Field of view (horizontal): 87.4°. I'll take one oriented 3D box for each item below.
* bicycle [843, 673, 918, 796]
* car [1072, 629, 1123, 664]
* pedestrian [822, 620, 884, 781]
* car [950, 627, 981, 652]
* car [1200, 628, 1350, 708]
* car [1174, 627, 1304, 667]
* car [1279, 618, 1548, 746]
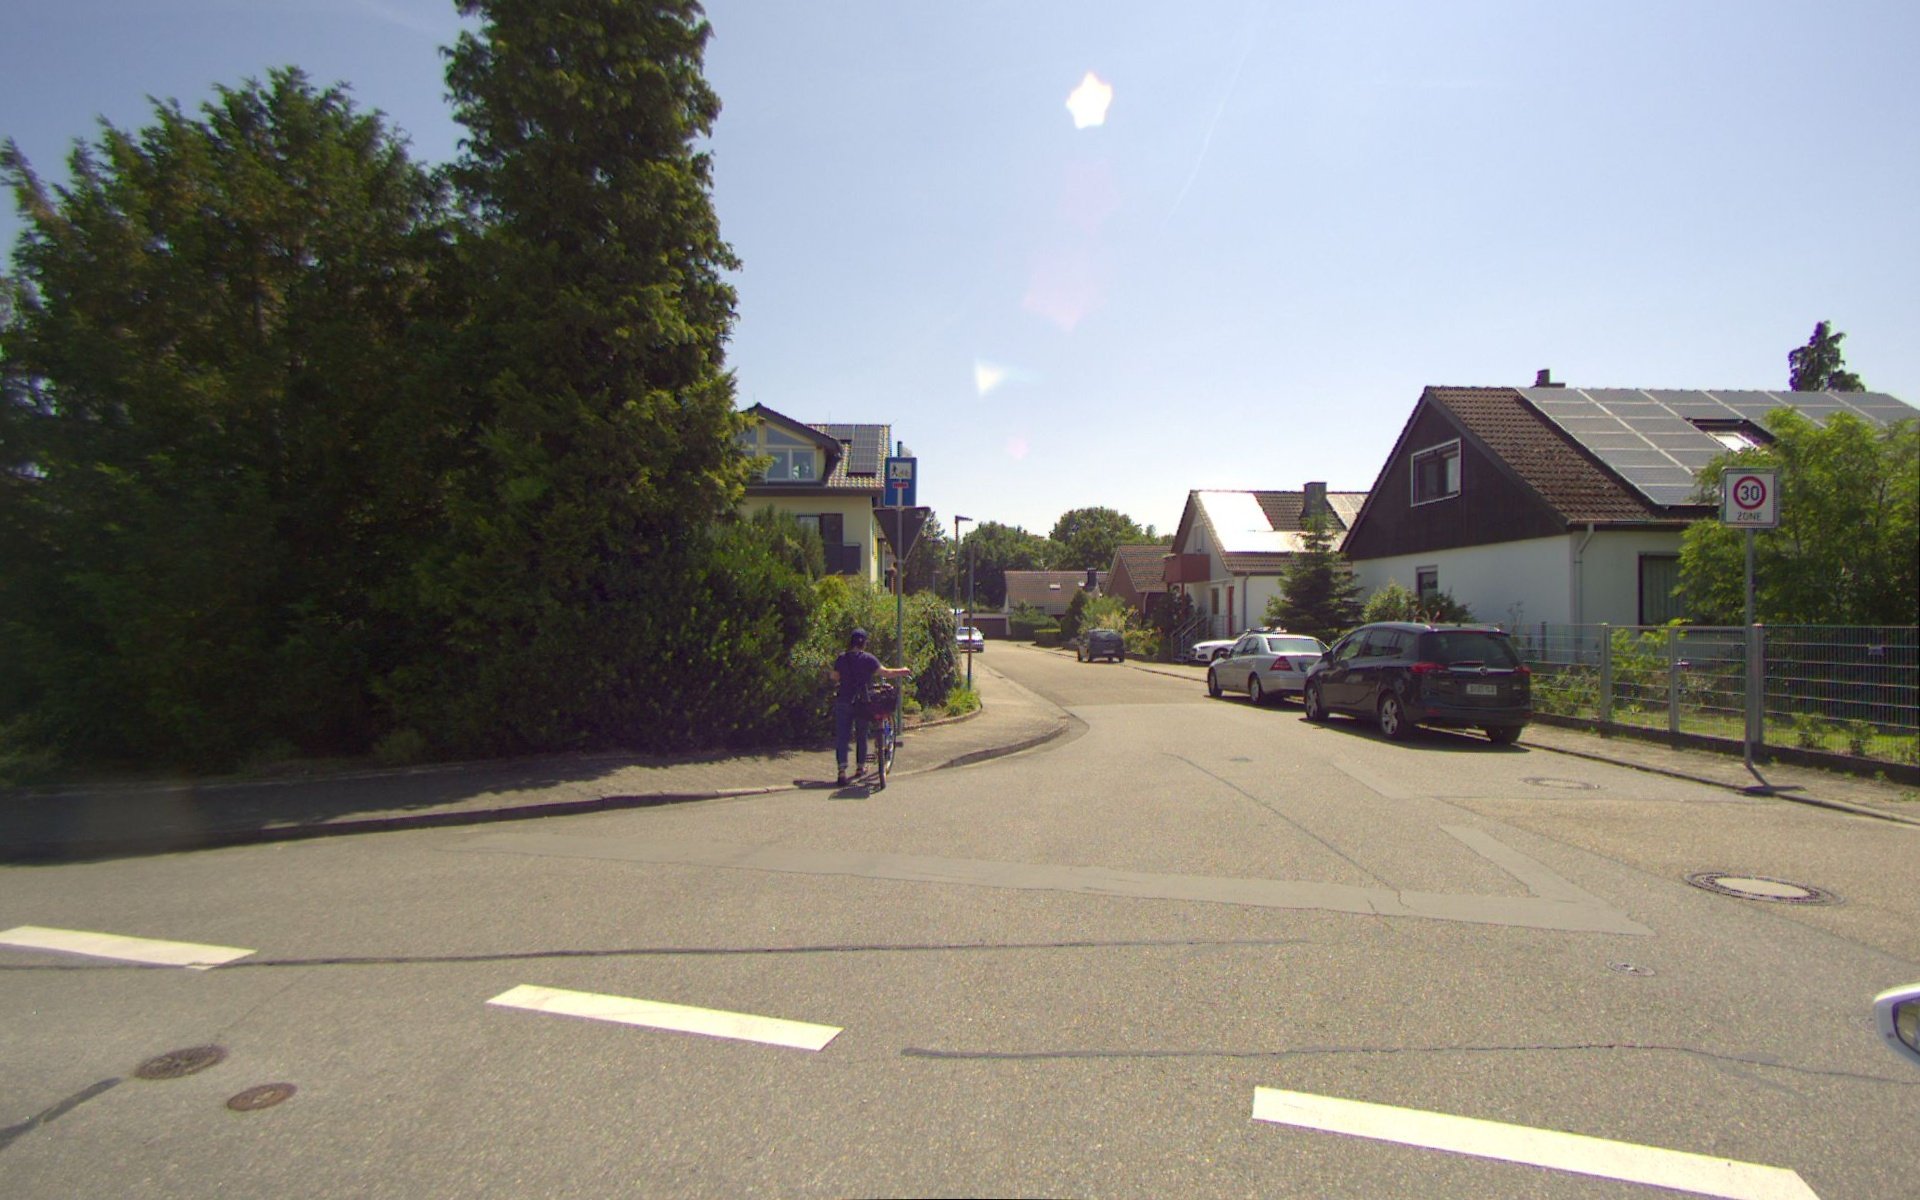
[{"bbox_3d":[-0.803,1.243,9.737,0.436,0.976,1.843,1,-1,-14],"label":"bicycle"},{"bbox_3d":[6.093,2.035,44.923,1.623,1.459,3.651,1,-1,-2],"label":"car"},{"bbox_3d":[-1.060,0.965,9.886,0.496,1.520,0.610,1,-1,-16],"label":"pedestrian"},{"bbox_3d":[0.311,2.363,60.928,1.672,1.411,4.336,1,-1,-2],"label":"car"},{"bbox_3d":[6.481,1.344,21.197,1.659,1.479,4.336,0,-1,-2],"label":"car"},{"bbox_3d":[10.702,1.788,38.706,4.463,1.415,1.951,1,-1,-1],"label":"car"},{"bbox_3d":[6.756,1.136,15.645,1.931,1.684,4.681,0,-1,-2],"label":"car"}]
